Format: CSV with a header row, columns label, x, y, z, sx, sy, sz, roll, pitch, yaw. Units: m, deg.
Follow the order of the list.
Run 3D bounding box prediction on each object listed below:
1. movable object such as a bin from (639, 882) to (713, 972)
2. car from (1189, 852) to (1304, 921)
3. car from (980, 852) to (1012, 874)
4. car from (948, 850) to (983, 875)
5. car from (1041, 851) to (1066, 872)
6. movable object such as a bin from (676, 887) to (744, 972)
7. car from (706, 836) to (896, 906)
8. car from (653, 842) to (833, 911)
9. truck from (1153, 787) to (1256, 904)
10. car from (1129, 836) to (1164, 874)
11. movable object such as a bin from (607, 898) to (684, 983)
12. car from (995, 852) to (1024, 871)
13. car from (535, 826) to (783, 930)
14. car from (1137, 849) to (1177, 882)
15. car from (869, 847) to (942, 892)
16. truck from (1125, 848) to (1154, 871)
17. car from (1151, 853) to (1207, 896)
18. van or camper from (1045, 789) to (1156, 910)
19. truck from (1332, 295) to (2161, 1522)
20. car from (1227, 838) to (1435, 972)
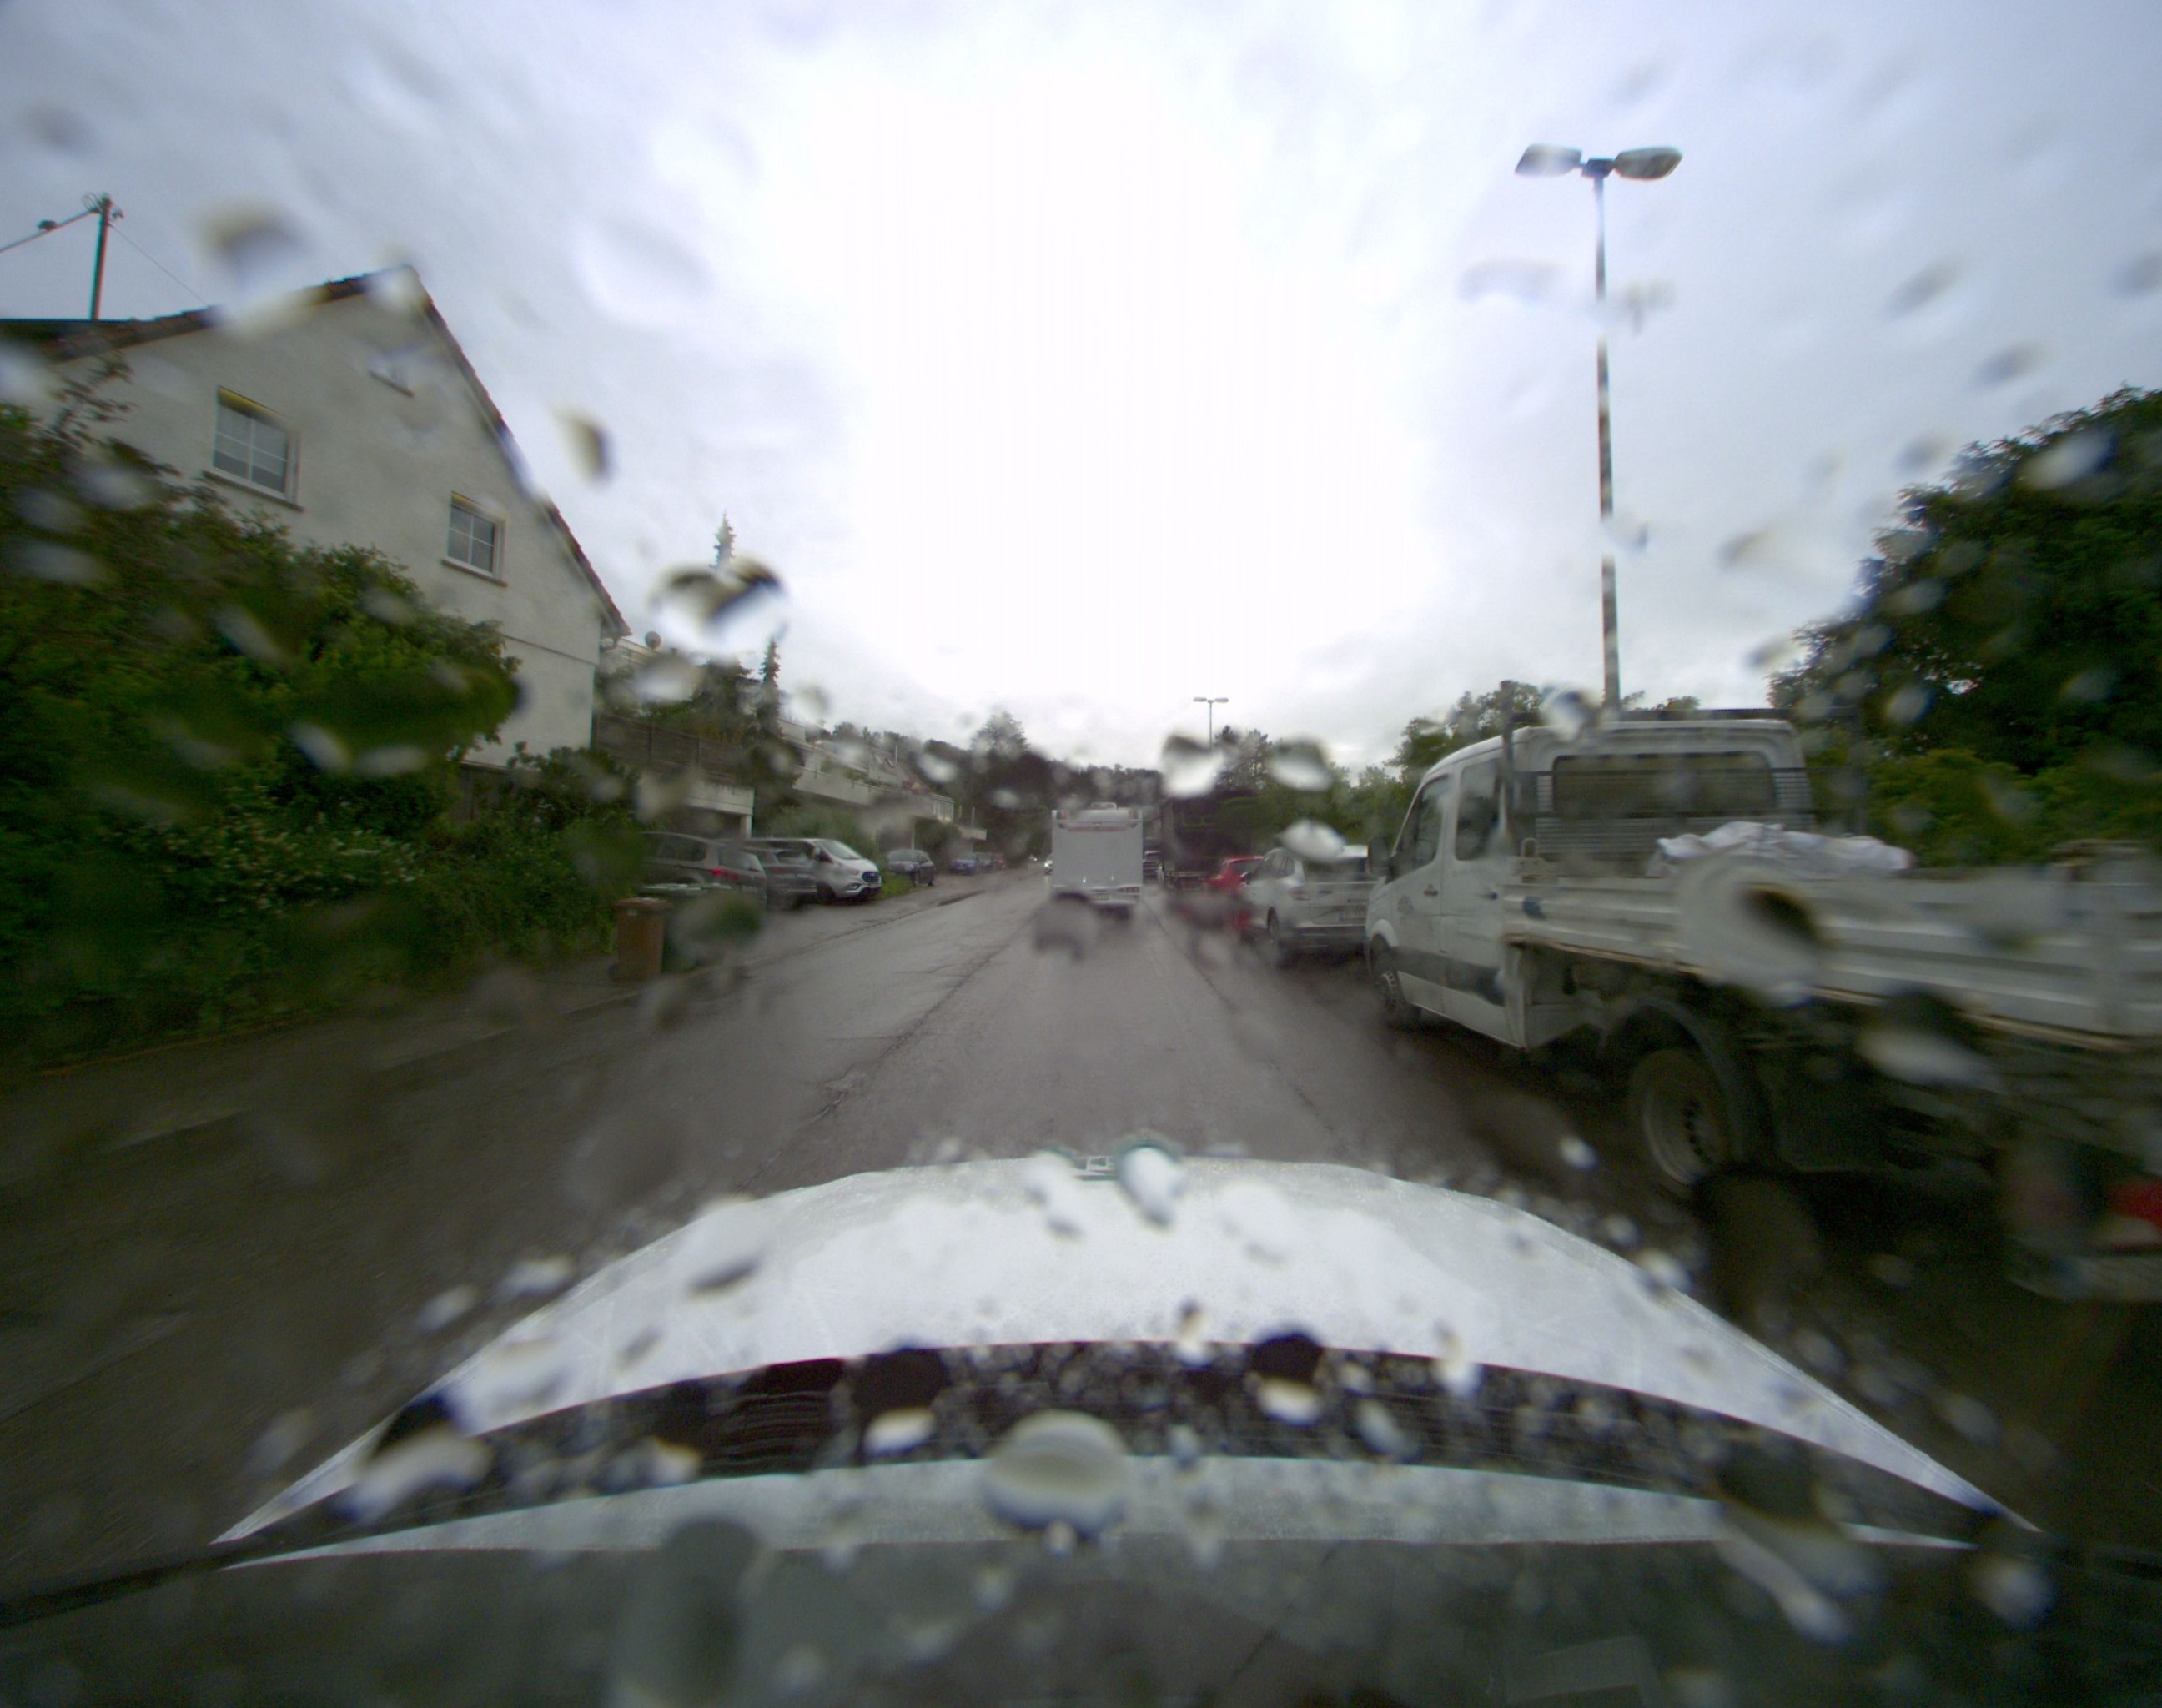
label,x,y,z,sx,sy,sz,roll,pitch,yaw
movable object such as a bin,-5.062,0.900,10.201,0.601,1.064,0.637,1,0,-3
car,3.906,0.721,20.060,1.826,1.438,4.986,-1,0,0
car,-6.082,0.639,58.811,1.627,1.396,4.240,3,0,2
car,-7.487,0.511,53.009,1.602,1.434,3.959,3,1,1
car,-2.181,0.567,65.519,1.900,1.607,4.427,0,0,-1
movable object such as a bin,-4.970,0.999,10.944,0.601,1.064,0.697,1,0,-3
car,-8.364,0.514,24.434,5.044,1.944,2.151,-1,0,17
car,-8.882,0.555,21.477,4.023,1.638,1.902,1,-1,17
truck,3.928,-0.224,27.618,2.427,3.335,7.967,-1,0,1
car,4.511,0.057,57.021,2.024,2.505,5.957,-1,0,1
movable object such as a bin,-5.102,1.001,9.571,0.601,0.928,0.563,1,0,-3
car,-5.819,0.604,67.060,1.767,1.437,4.590,4,0,2
car,-8.299,0.432,16.146,4.026,1.692,1.901,3,0,14
car,4.008,0.589,43.671,1.928,1.672,4.698,-1,0,3
car,-7.228,0.597,34.037,1.681,1.588,4.202,6,1,4
truck,5.029,0.443,70.781,2.106,1.852,6.618,1,0,1
car,4.145,0.820,35.334,1.839,1.683,5.640,-1,0,1
van or camper,0.570,-0.025,22.454,2.606,2.853,6.033,1,-2,2
truck,3.545,0.109,4.976,2.230,2.631,6.542,-1,0,2
car,3.474,0.637,12.306,1.753,1.604,4.667,-1,0,1
